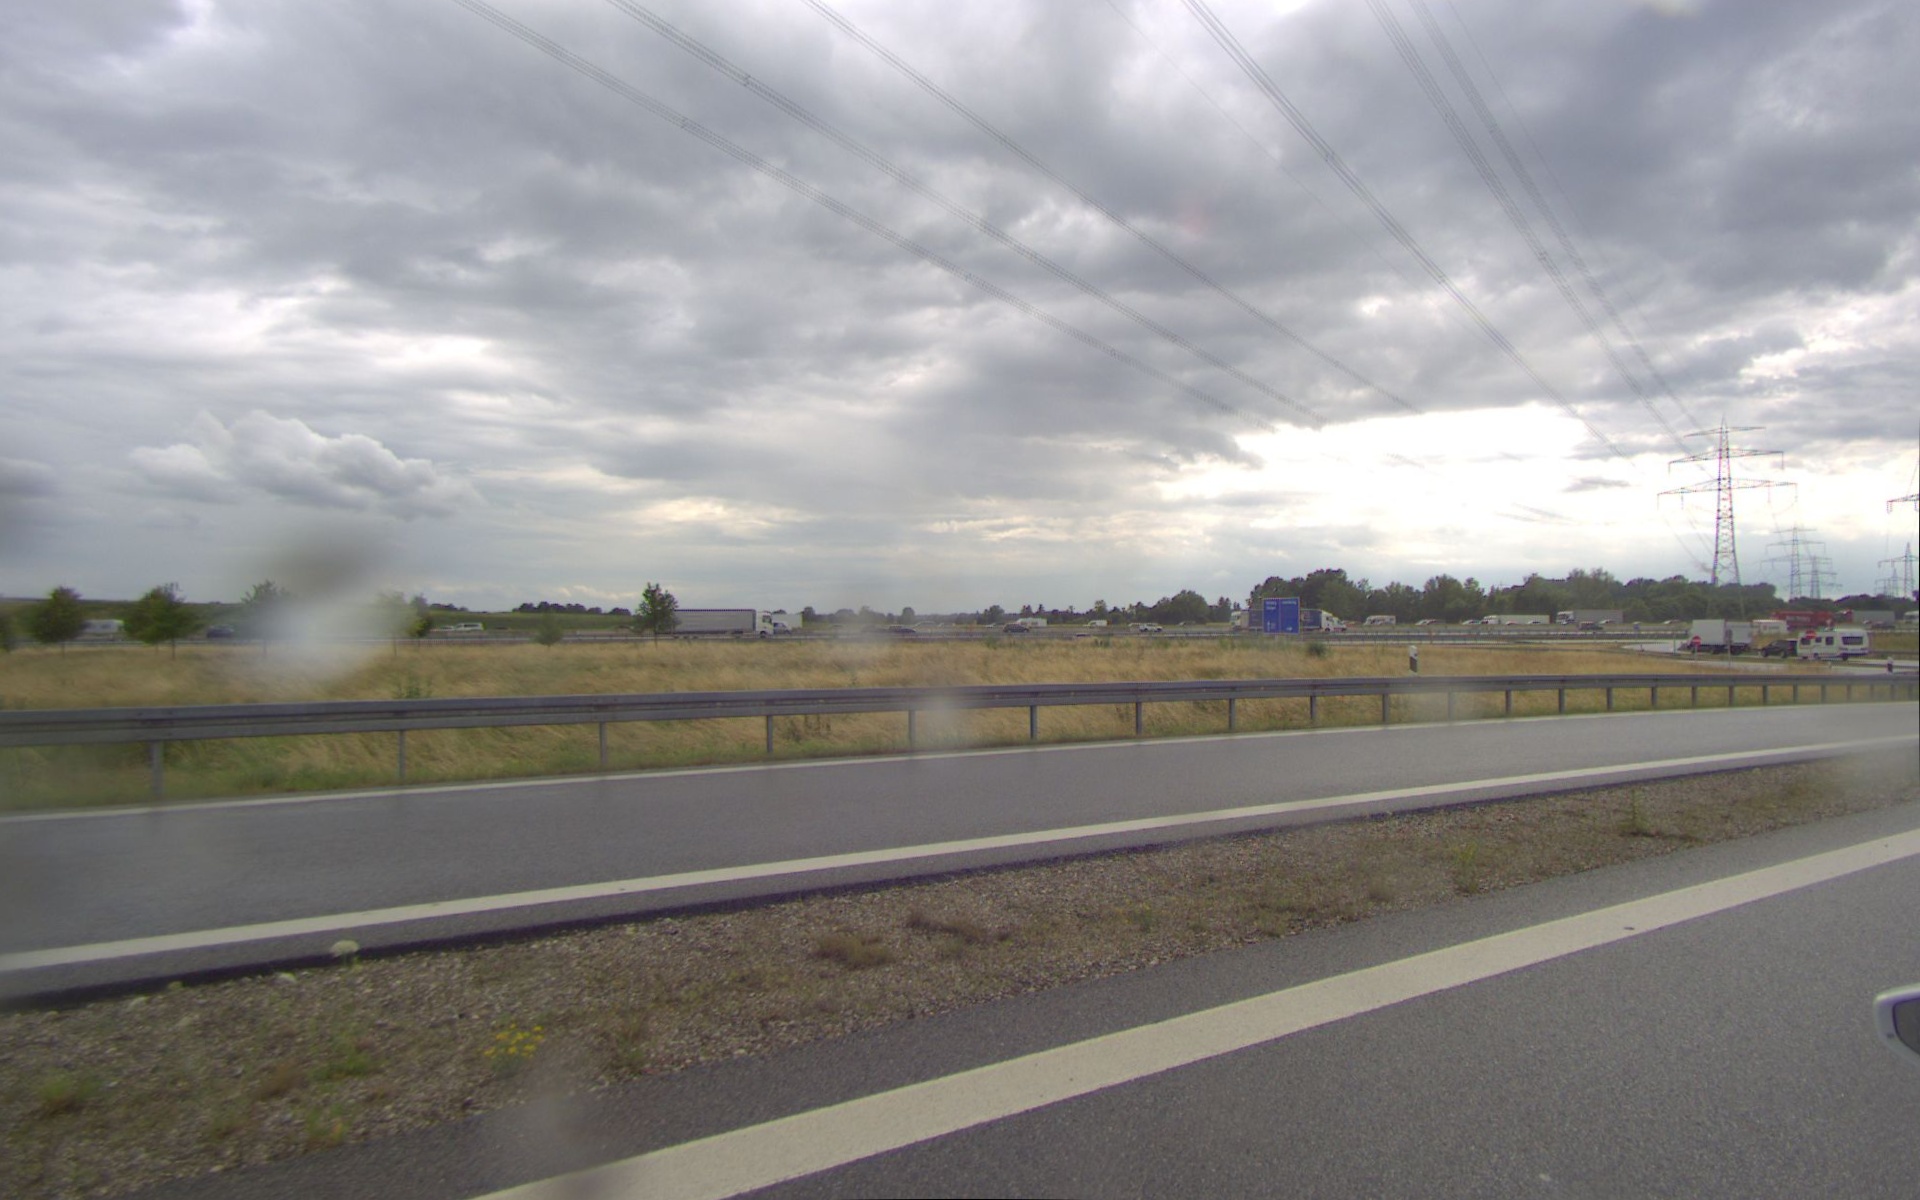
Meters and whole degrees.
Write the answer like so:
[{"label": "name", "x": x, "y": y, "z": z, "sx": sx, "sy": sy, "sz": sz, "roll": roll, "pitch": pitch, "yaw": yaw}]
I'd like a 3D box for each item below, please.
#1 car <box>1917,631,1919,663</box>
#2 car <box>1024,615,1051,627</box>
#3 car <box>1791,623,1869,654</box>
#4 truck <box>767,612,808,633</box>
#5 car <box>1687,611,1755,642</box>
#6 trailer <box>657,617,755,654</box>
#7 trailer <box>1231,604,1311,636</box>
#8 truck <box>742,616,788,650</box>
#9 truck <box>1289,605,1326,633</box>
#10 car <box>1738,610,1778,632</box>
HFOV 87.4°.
[{"label": "car", "x": 70.953, "y": 3.444, "z": 71.491, "sx": 2.313, "sy": 2.338, "sz": 5.126, "roll": -2, "pitch": 0, "yaw": 22}, {"label": "car", "x": 14.705, "y": 3.937, "z": 190.526, "sx": 4.669, "sy": 2.040, "sz": 1.997, "roll": -2, "pitch": 0, "yaw": -10}, {"label": "car", "x": 73.792, "y": 3.251, "z": 85.338, "sx": 2.312, "sy": 2.338, "sz": 5.129, "roll": -2, "pitch": 0, "yaw": 2}, {"label": "truck", "x": -30.713, "y": 4.024, "z": 178.374, "sx": 6.988, "sy": 3.517, "sz": 1.994, "roll": -2, "pitch": 0, "yaw": -14}, {"label": "car", "x": 79.542, "y": 2.696, "z": 105.143, "sx": 3.083, "sy": 2.991, "sz": 7.211, "roll": -2, "pitch": 0, "yaw": 15}, {"label": "trailer", "x": -36.046, "y": 4.926, "z": 142.533, "sx": 13.175, "sy": 4.678, "sz": 3.471, "roll": -2, "pitch": 0, "yaw": -17}, {"label": "trailer", "x": 51.464, "y": 3.285, "z": 166.074, "sx": 13.081, "sy": 4.698, "sz": 3.048, "roll": -2, "pitch": 0, "yaw": -16}, {"label": "truck", "x": -28.199, "y": 4.684, "z": 144.936, "sx": 6.166, "sy": 4.627, "sz": 3.339, "roll": -2, "pitch": 0, "yaw": -17}, {"label": "truck", "x": 58.089, "y": 3.148, "z": 167.901, "sx": 4.989, "sy": 4.539, "sz": 3.068, "roll": -2, "pitch": 0, "yaw": -16}, {"label": "car", "x": 131.633, "y": 3.482, "z": 165.594, "sx": 8.969, "sy": 3.658, "sz": 3.356, "roll": 1, "pitch": -2, "yaw": -40}]
